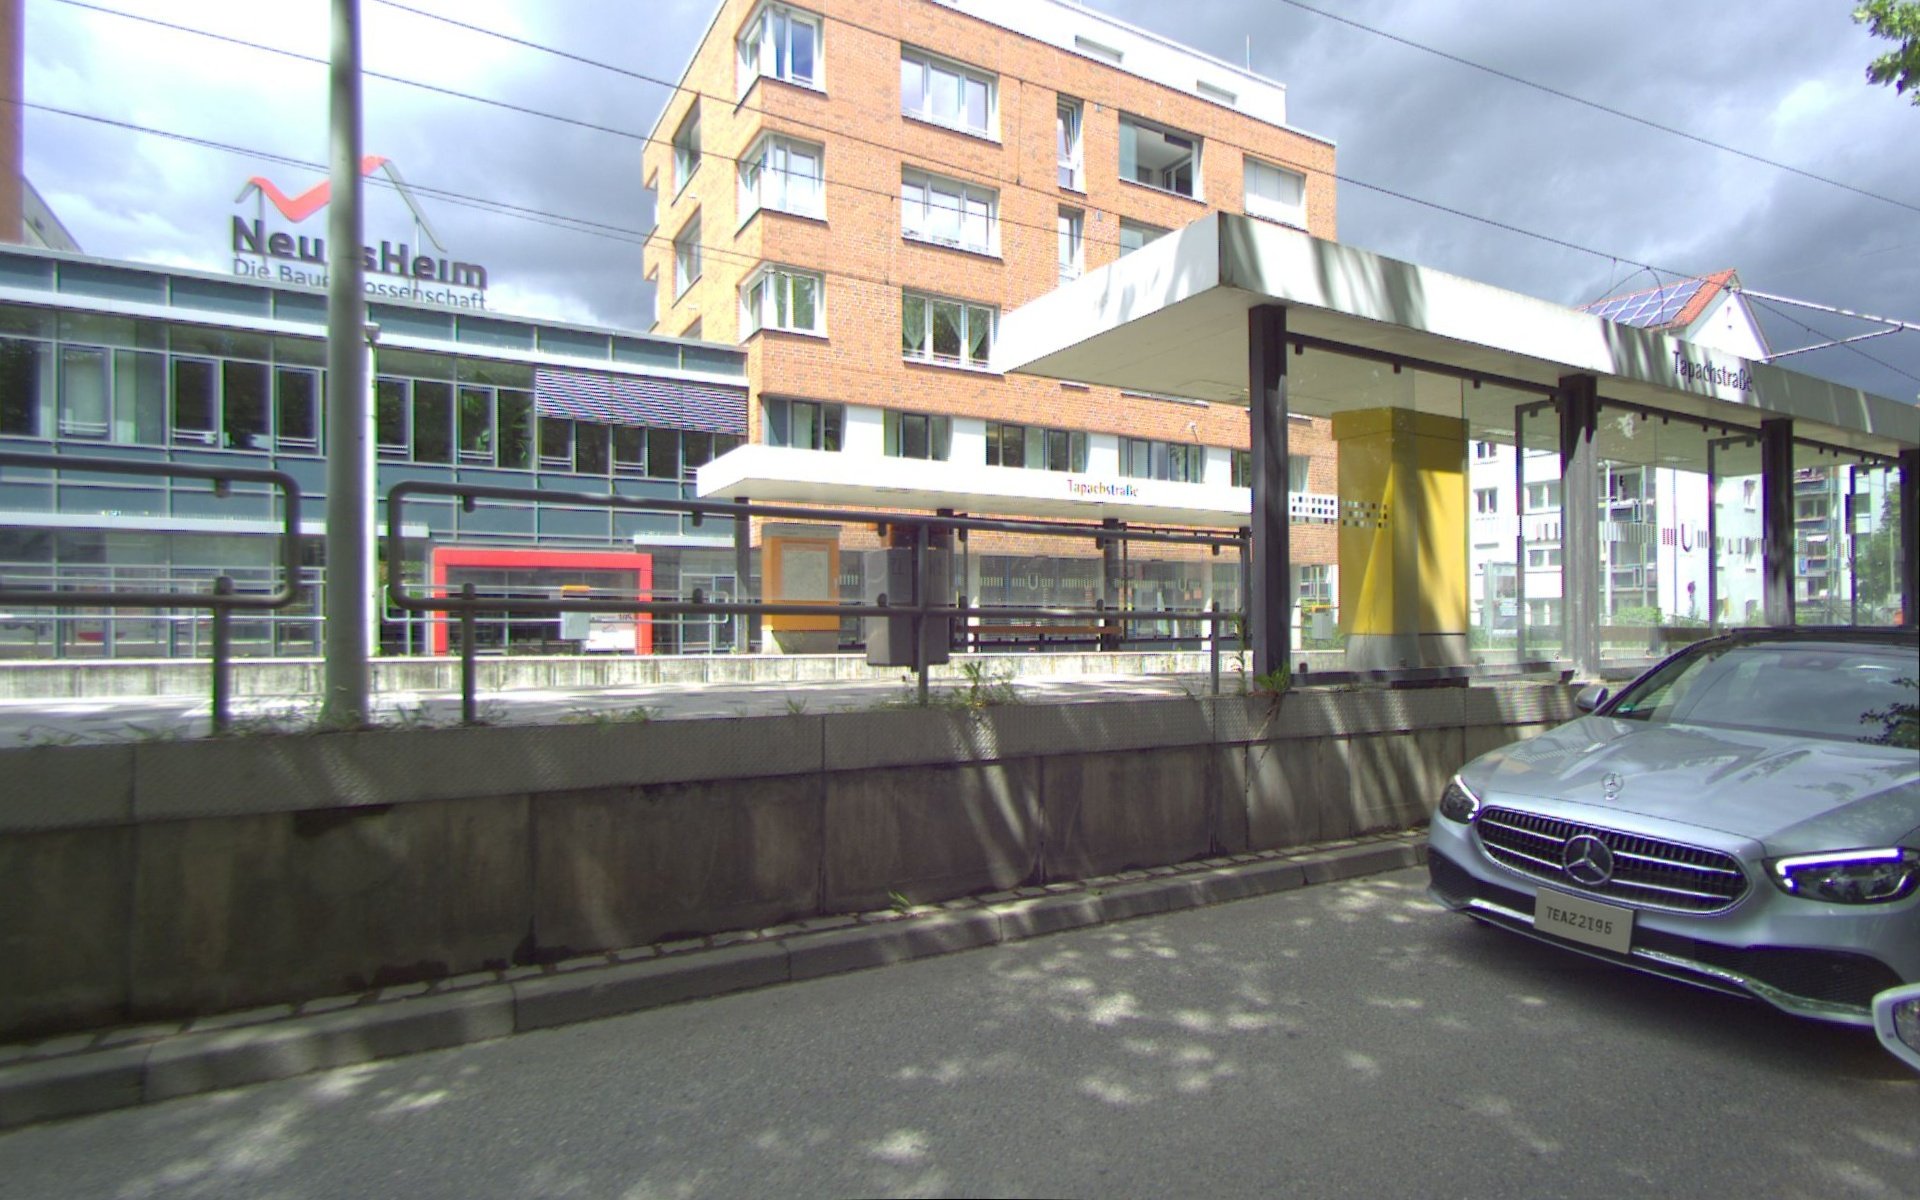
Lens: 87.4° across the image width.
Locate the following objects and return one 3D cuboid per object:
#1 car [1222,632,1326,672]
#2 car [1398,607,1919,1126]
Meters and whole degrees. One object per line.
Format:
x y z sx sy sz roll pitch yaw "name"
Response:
12.896 2.109 41.294 3.951 1.572 1.887 1 -2 -29 "car"
4.340 0.835 4.912 4.525 1.501 1.753 1 0 -32 "car"
